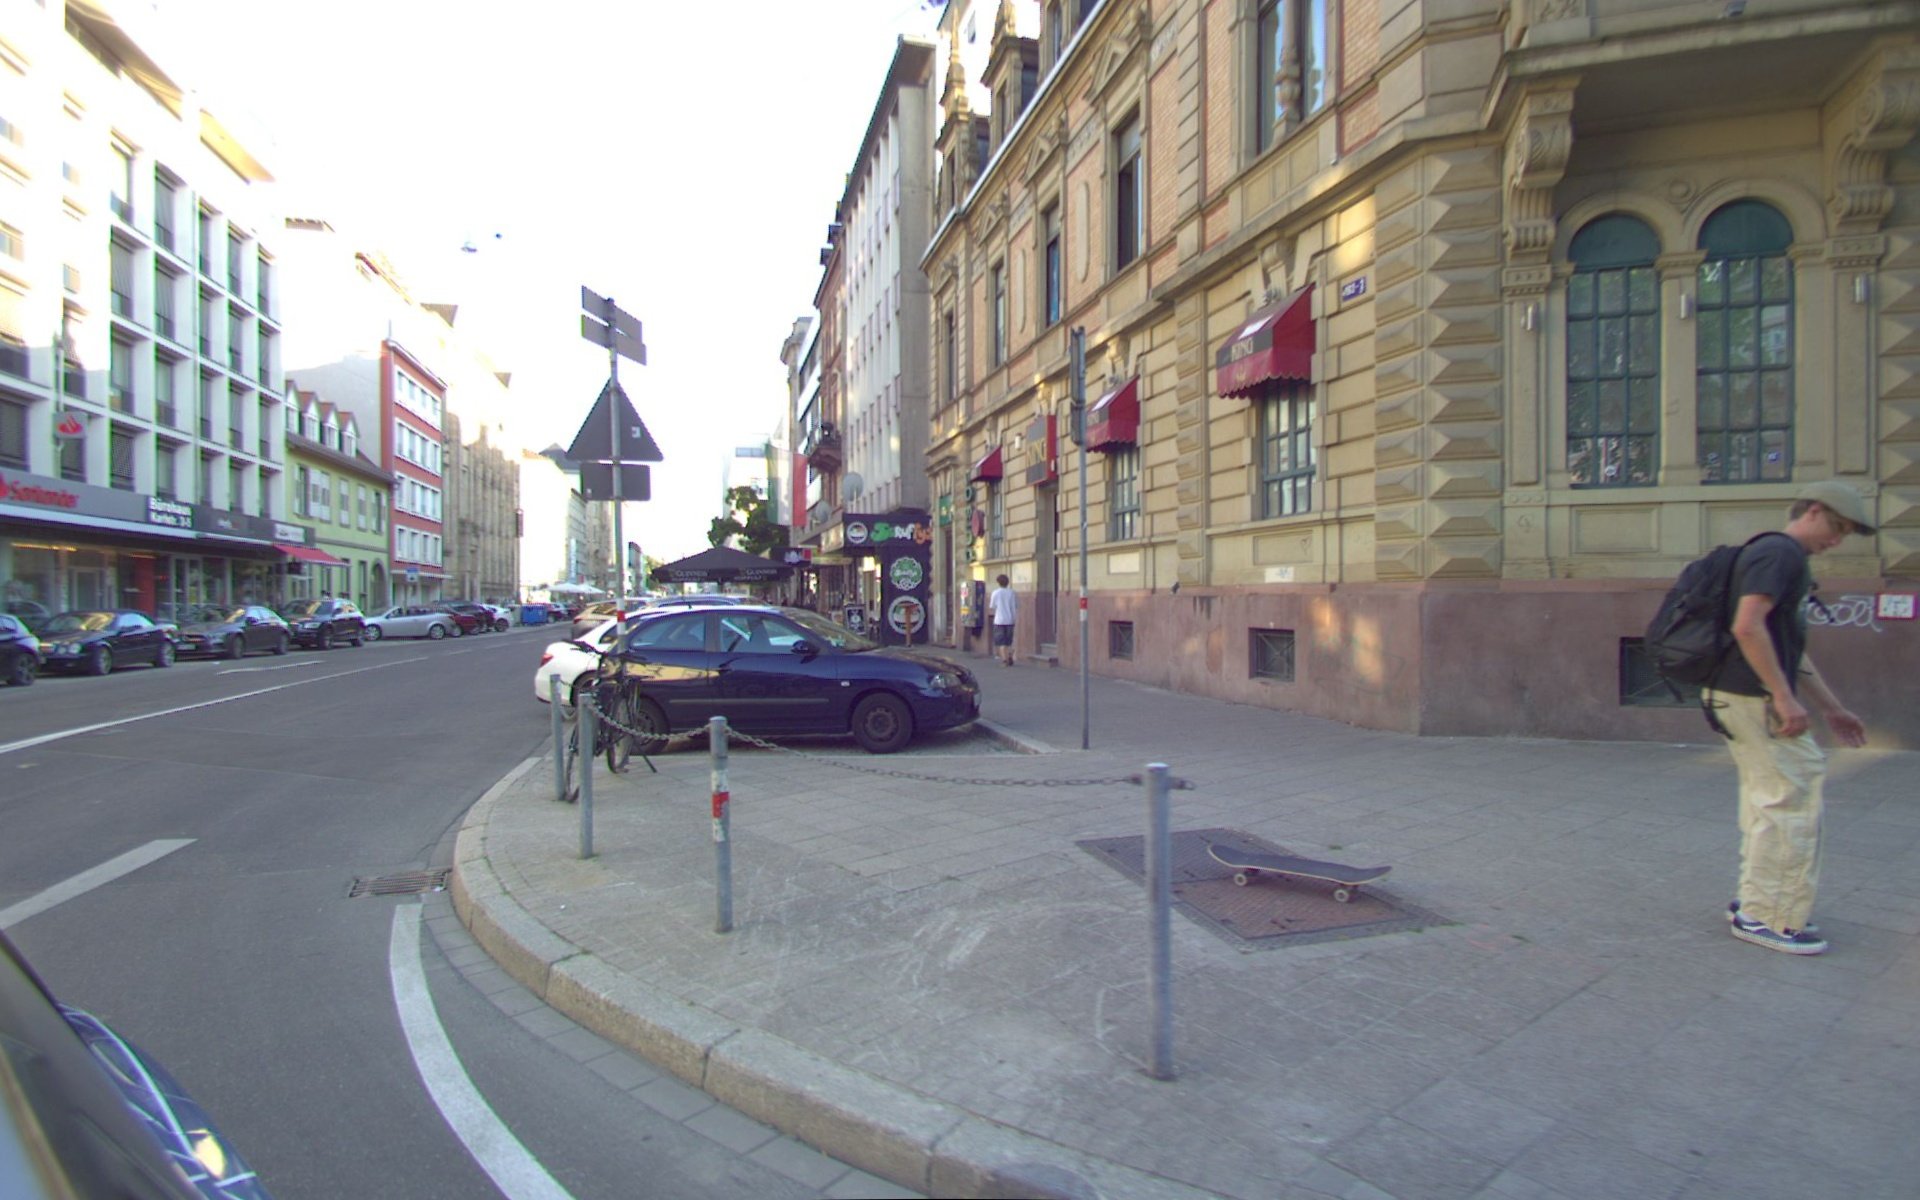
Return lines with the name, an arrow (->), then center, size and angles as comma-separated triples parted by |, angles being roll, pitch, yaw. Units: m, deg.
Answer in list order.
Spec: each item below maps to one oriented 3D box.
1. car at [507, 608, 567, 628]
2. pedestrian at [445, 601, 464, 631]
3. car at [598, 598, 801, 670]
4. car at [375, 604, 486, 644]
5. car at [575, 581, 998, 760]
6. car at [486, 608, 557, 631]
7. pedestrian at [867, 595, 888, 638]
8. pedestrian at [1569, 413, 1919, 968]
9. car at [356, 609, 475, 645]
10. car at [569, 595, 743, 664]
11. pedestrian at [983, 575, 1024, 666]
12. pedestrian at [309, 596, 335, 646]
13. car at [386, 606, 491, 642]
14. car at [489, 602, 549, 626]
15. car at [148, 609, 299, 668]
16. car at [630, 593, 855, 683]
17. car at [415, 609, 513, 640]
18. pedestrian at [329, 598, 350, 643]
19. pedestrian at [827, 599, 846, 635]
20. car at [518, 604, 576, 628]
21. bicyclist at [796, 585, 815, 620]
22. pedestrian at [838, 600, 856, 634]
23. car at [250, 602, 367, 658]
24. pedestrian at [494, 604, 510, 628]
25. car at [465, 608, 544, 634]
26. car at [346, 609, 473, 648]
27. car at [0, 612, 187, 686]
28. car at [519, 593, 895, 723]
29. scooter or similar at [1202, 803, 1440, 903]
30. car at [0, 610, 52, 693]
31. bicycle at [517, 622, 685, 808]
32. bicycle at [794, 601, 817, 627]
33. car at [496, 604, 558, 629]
car -> -31.663, 1.348, 75.746 | 3.776, 1.357, 1.742 | -1, -1, -39
pedestrian -> -33.328, 1.065, 66.742 | 0.837, 1.958, 1.014 | -1, 0, -9
car -> -5.959, 0.755, 23.185 | 4.259, 1.560, 1.701 | -1, 0, 17
car -> -24.071, 1.054, 46.110 | 1.754, 1.689, 4.169 | -1, 0, 42
car -> -1.660, 0.687, 10.271 | 3.821, 1.472, 1.735 | -4, -1, 11
car -> -30.234, 1.322, 69.858 | 4.160, 1.484, 1.757 | 0, 0, -39
pedestrian -> -2.563, 0.505, 31.341 | 0.565, 1.318, 0.577 | 0, 0, -13
pedestrian -> 3.074, 0.275, 3.728 | 1.267, 1.752, 0.839 | 0, 2, 44
car -> -23.372, 1.136, 43.542 | 1.754, 1.450, 4.169 | -1, 0, 42
car -> -8.001, 0.757, 26.832 | 4.004, 1.641, 1.849 | -2, 0, 7
pedestrian -> 0.780, 0.369, 18.421 | 0.569, 1.621, 0.523 | -2, 0, -13
pedestrian -> -27.056, 0.882, 42.938 | 0.750, 2.083, 0.721 | 0, 0, -15
car -> -24.983, 1.137, 48.570 | 4.165, 1.629, 1.756 | 0, 0, -44
car -> -35.635, 1.101, 81.882 | 4.160, 1.896, 1.757 | 0, 0, -39
car -> -20.186, 1.000, 27.995 | 1.719, 1.457, 4.570 | -1, 0, -13
car -> -4.260, 0.730, 20.067 | 4.008, 1.669, 1.786 | 0, -1, 12
car -> -25.222, 1.233, 51.579 | 4.165, 1.484, 1.756 | 0, 0, -44
pedestrian -> -26.367, 0.872, 43.020 | 0.602, 1.901, 0.721 | 0, 0, -15
pedestrian -> -4.370, 0.611, 35.759 | 0.567, 1.254, 0.677 | 0, -1, -14
car -> -32.175, 1.247, 78.882 | 3.776, 1.737, 1.757 | -1, -1, -39
bicyclist -> -7.008, 0.106, 45.888 | 0.755, 1.571, 0.815 | -1, 0, -15
pedestrian -> -4.153, 0.617, 37.268 | 0.567, 1.254, 0.677 | 0, -1, -14
car -> -21.198, 0.931, 33.128 | 1.803, 1.671, 4.373 | 0, 0, -12
pedestrian -> -34.905, 1.182, 77.180 | 0.837, 1.813, 1.014 | -1, 0, -9
car -> -28.349, 1.293, 63.045 | 4.165, 1.484, 1.756 | 0, 0, -44
car -> -22.242, 1.104, 41.027 | 1.751, 1.450, 4.176 | -1, 0, 36
car -> -18.918, 0.984, 22.053 | 1.718, 1.398, 4.514 | 0, 0, -15
car -> -3.337, 0.760, 13.544 | 4.584, 1.523, 1.761 | -2, 0, 14
scooter or similar -> 1.542, 1.069, 4.362 | 0.881, 0.208, 0.413 | -1, 1, 40
car -> -17.553, 0.917, 16.939 | 1.719, 1.458, 4.261 | 0, 0, -14
bicycle -> -2.605, 0.775, 7.567 | 0.717, 1.134, 1.806 | -3, 0, -6
bicycle -> -6.998, 0.625, 45.832 | 0.755, 1.123, 2.184 | -1, 0, -15
car -> -31.087, 1.172, 72.682 | 3.776, 1.766, 1.757 | 0, 0, -39
